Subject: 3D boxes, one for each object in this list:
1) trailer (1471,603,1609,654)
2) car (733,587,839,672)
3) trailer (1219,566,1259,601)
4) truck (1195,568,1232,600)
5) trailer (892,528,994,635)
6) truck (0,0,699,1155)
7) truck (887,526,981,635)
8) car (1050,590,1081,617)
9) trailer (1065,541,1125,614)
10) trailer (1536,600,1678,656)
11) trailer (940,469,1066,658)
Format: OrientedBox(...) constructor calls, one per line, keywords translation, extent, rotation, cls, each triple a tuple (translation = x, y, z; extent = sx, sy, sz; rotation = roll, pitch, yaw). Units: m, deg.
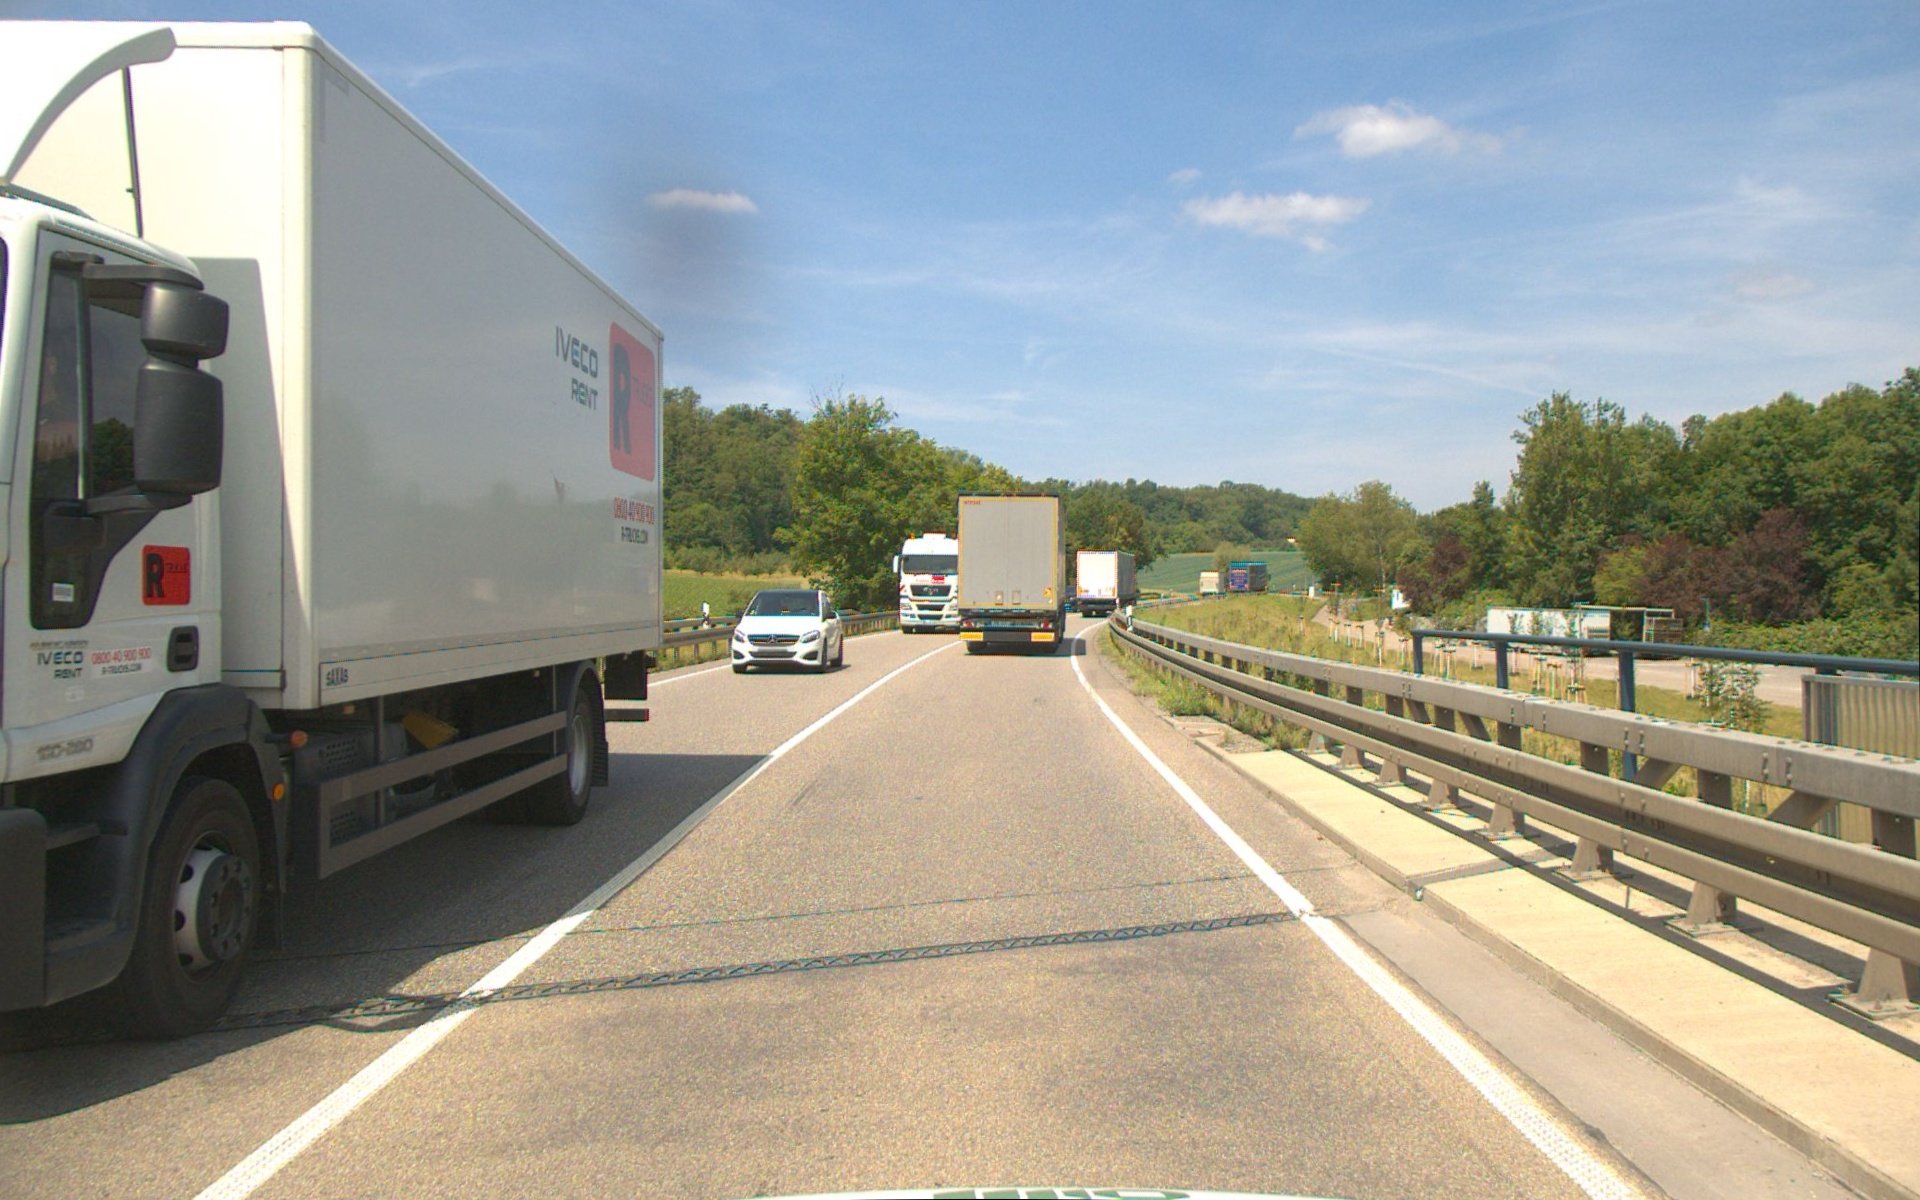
OrientedBox(translation=(42.902, 2.024, 122.944), extent=(2.679, 3.386, 11.821), rotation=(0, 1, -21), cls="trailer")
OrientedBox(translation=(-3.338, 0.553, 32.343), extent=(1.722, 1.538, 3.998), rotation=(0, 0, -2), cls="car")
OrientedBox(translation=(35.462, -2.024, 209.716), extent=(3.571, 4.337, 12.201), rotation=(0, 0, 17), cls="trailer")
OrientedBox(translation=(28.828, -1.718, 187.653), extent=(3.154, 3.424, 11.884), rotation=(0, 0, 13), cls="truck")
OrientedBox(translation=(-0.476, -0.634, 70.292), extent=(3.052, 4.050, 15.363), rotation=(0, -1, 4), cls="trailer")
OrientedBox(translation=(-3.743, -0.501, 9.195), extent=(2.854, 3.870, 9.709), rotation=(0, 0, 1), cls="truck")
OrientedBox(translation=(-0.918, -0.687, 64.439), extent=(3.052, 4.027, 6.625), rotation=(0, -1, 4), cls="truck")
OrientedBox(translation=(7.642, 0.228, 119.353), extent=(1.881, 1.892, 5.179), rotation=(0, 0, 7), cls="car")
OrientedBox(translation=(8.869, -1.344, 107.213), extent=(3.293, 4.392, 13.874), rotation=(0, 0, 7), cls="trailer")
OrientedBox(translation=(46.939, 1.940, 120.548), extent=(2.677, 3.669, 11.831), rotation=(1, 1, -19), cls="trailer")
OrientedBox(translation=(1.207, -0.968, 47.243), extent=(3.054, 4.578, 13.889), rotation=(0, 1, 1), cls="trailer")
